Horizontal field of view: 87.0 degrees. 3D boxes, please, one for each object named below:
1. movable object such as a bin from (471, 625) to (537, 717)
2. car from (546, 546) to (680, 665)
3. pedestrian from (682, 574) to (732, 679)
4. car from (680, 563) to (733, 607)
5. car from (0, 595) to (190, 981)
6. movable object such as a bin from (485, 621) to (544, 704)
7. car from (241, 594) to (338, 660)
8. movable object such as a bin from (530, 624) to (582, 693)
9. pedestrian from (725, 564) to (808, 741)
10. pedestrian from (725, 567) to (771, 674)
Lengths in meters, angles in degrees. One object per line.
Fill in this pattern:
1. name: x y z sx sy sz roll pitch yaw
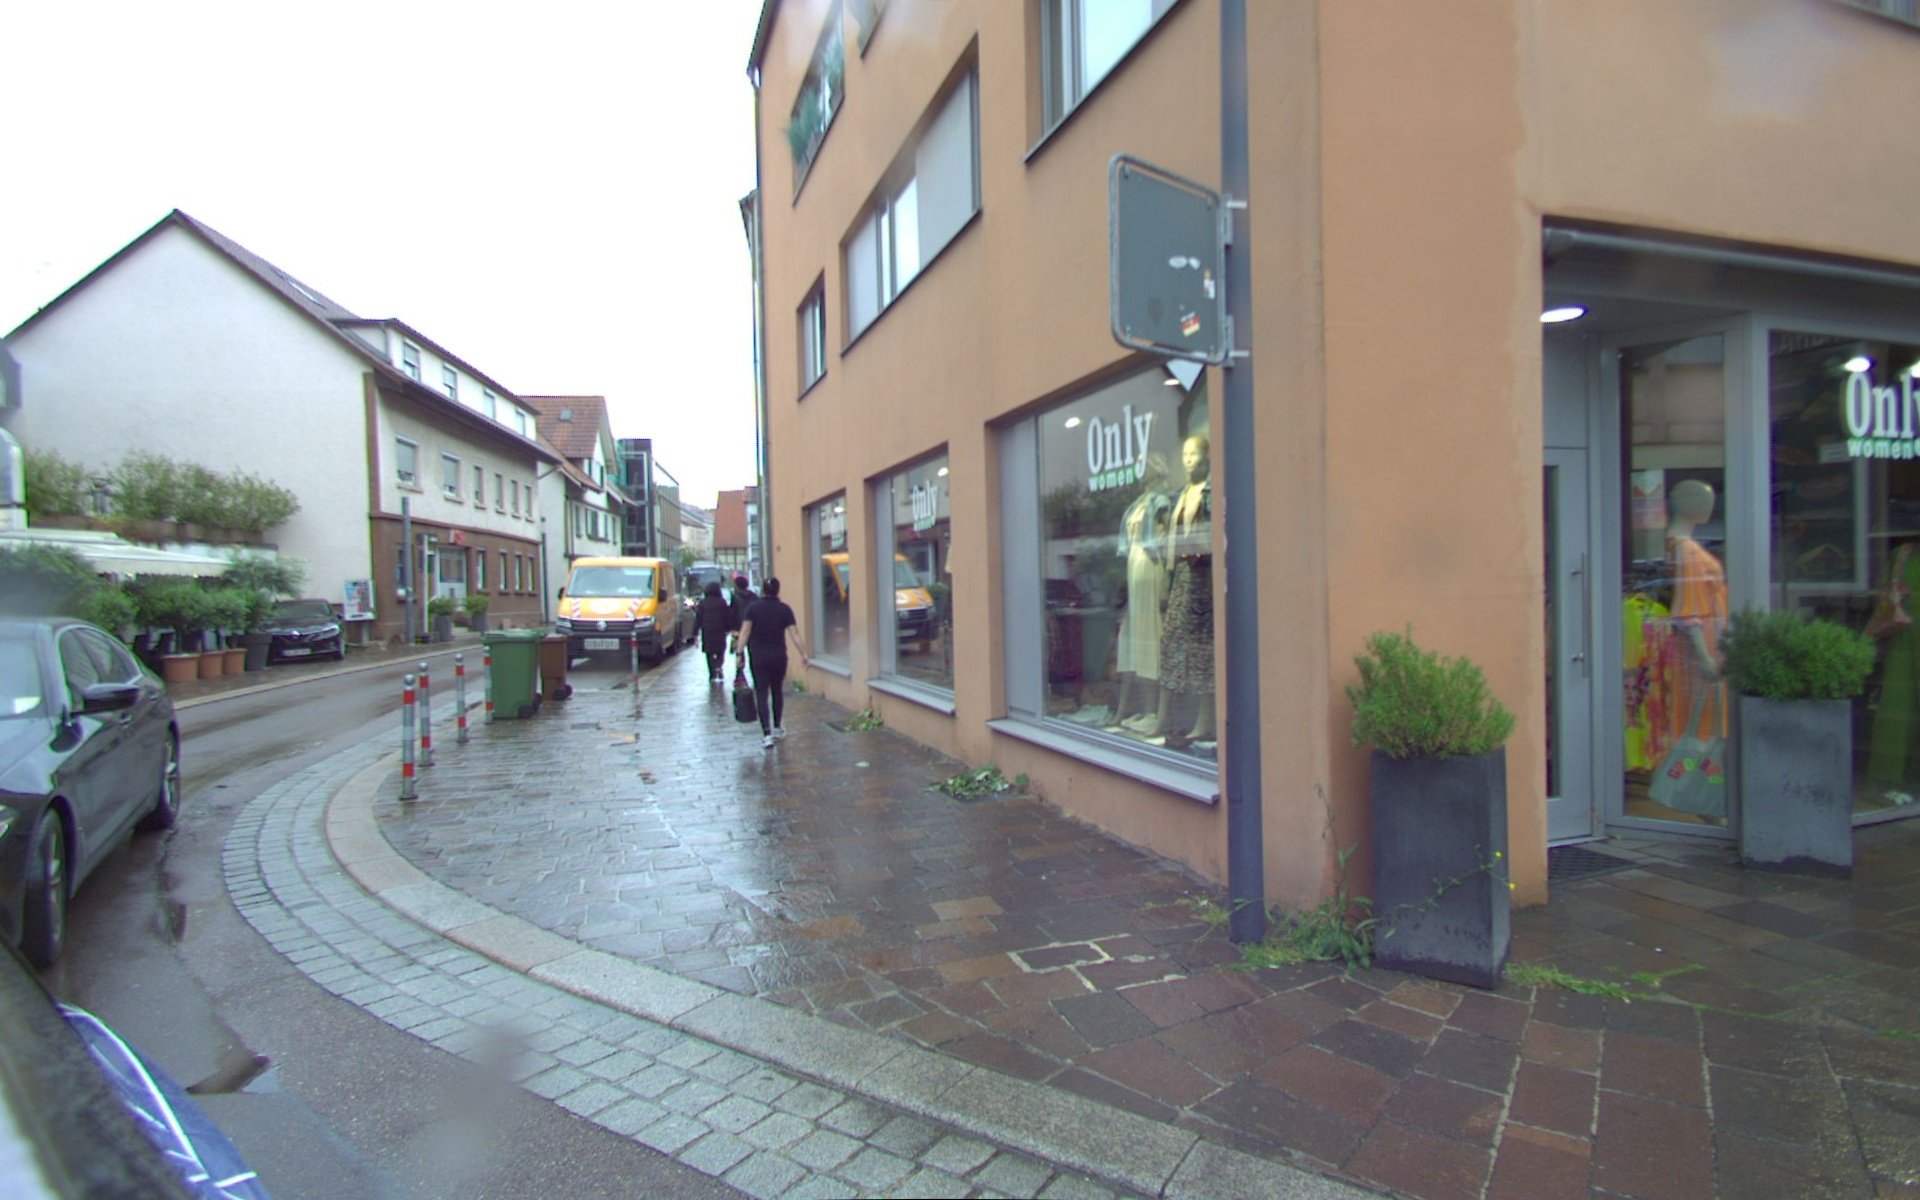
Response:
1. movable object such as a bin: -5.510 0.839 12.262 0.647 1.044 0.612 -1 1 -18
2. car: -7.431 0.060 22.262 1.967 2.256 5.875 -1 1 -11
3. pedestrian: -4.194 0.423 16.752 0.705 1.652 0.748 -3 1 -17
4. car: -17.994 -0.997 72.205 2.669 2.895 8.859 -2 0 -8
5. car: -5.318 0.704 4.911 1.915 1.413 4.433 -1 1 -30
6. movable object such as a bin: -5.893 0.812 13.402 0.647 1.044 0.612 -1 1 -18
7. car: -15.373 0.549 23.355 1.709 1.367 3.948 -1 1 -32
8. movable object such as a bin: -5.821 0.836 14.602 0.574 0.934 0.482 -2 1 -9
9. pedestrian: -1.874 0.480 9.757 0.650 1.622 0.686 -1 0 -20
10. pedestrian: -3.562 0.330 16.944 0.614 1.725 0.811 -3 1 -17
